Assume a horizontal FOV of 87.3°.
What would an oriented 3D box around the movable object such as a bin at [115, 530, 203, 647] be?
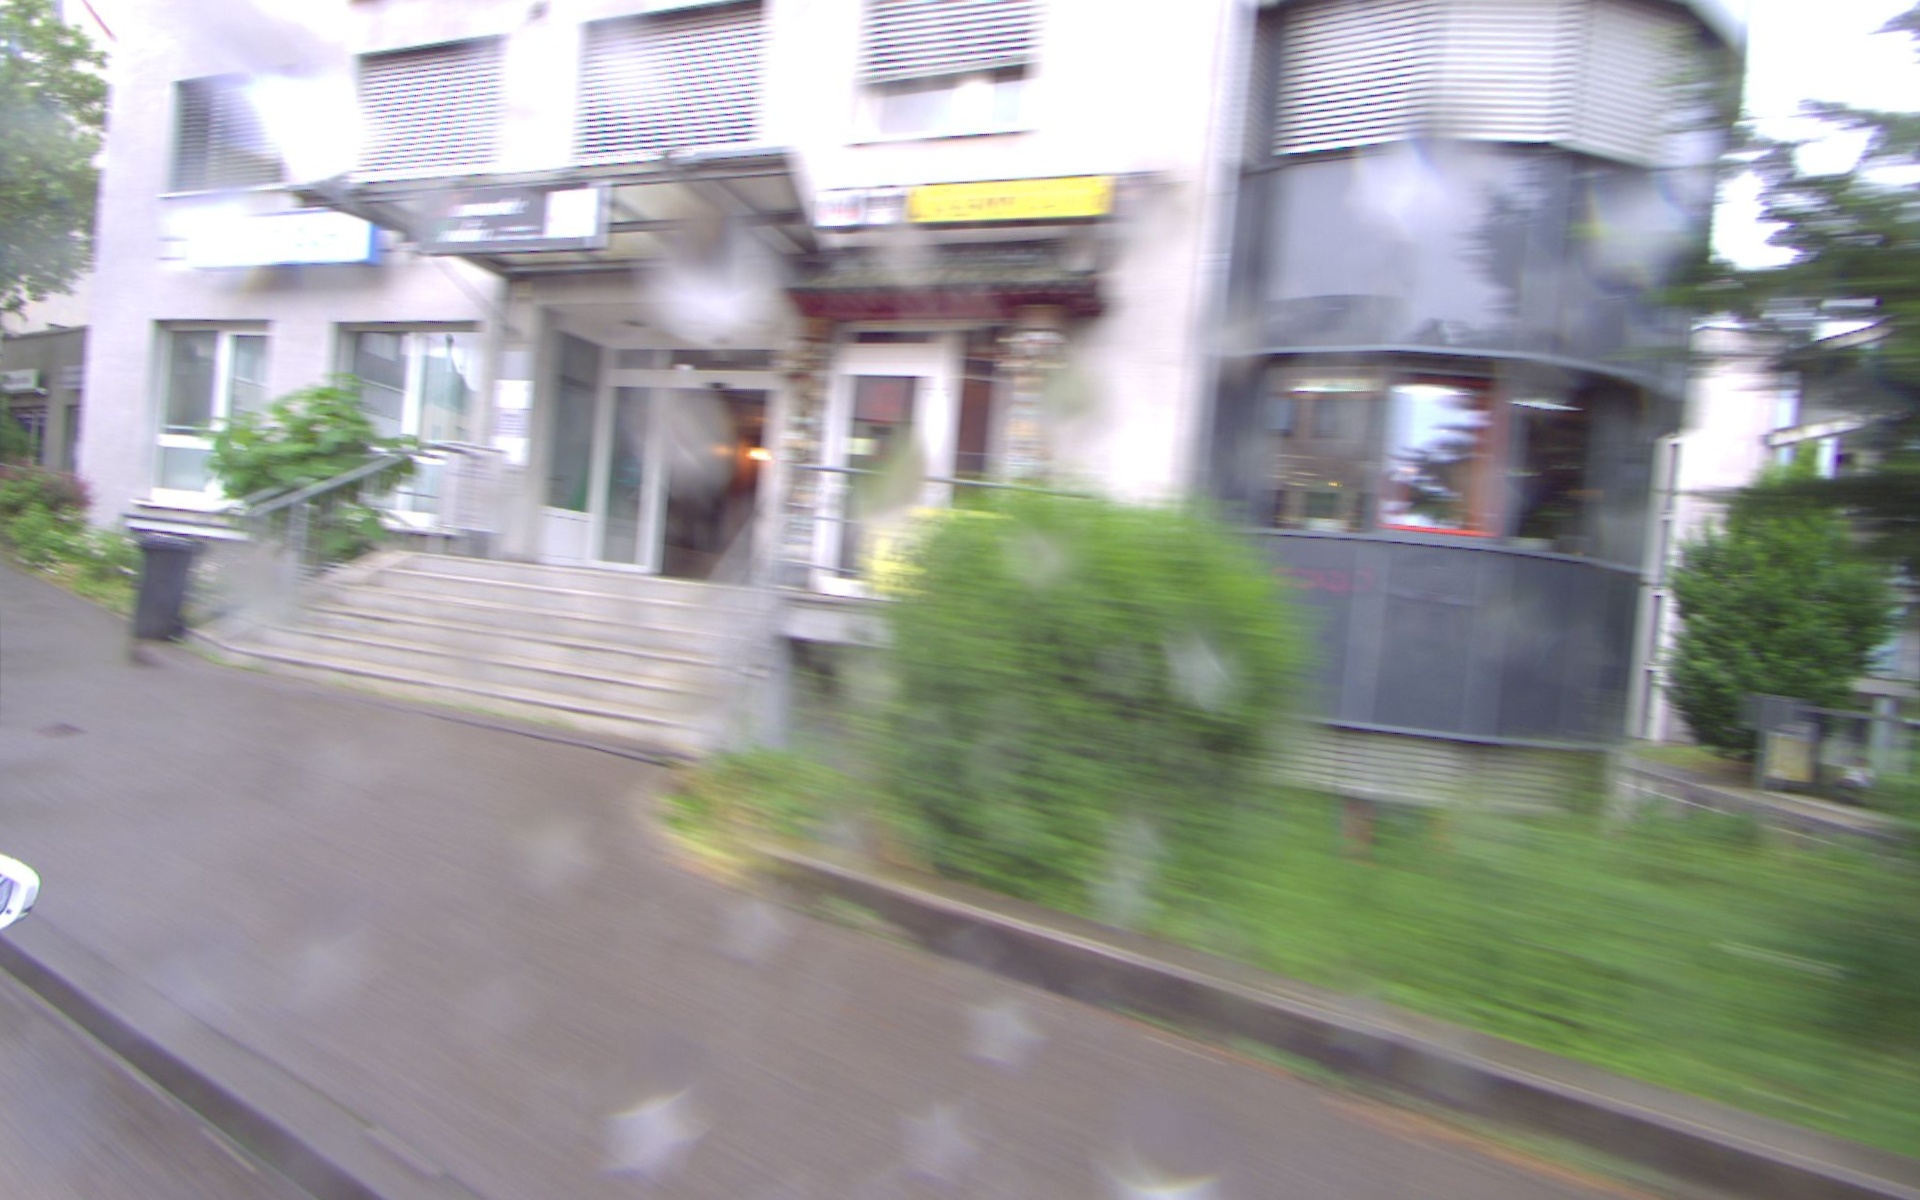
[{"bbox_3d":[-7.456,-0.107,9.364,0.510,0.957,0.595,9,2,-42],"label":"movable object such as a bin"}]
